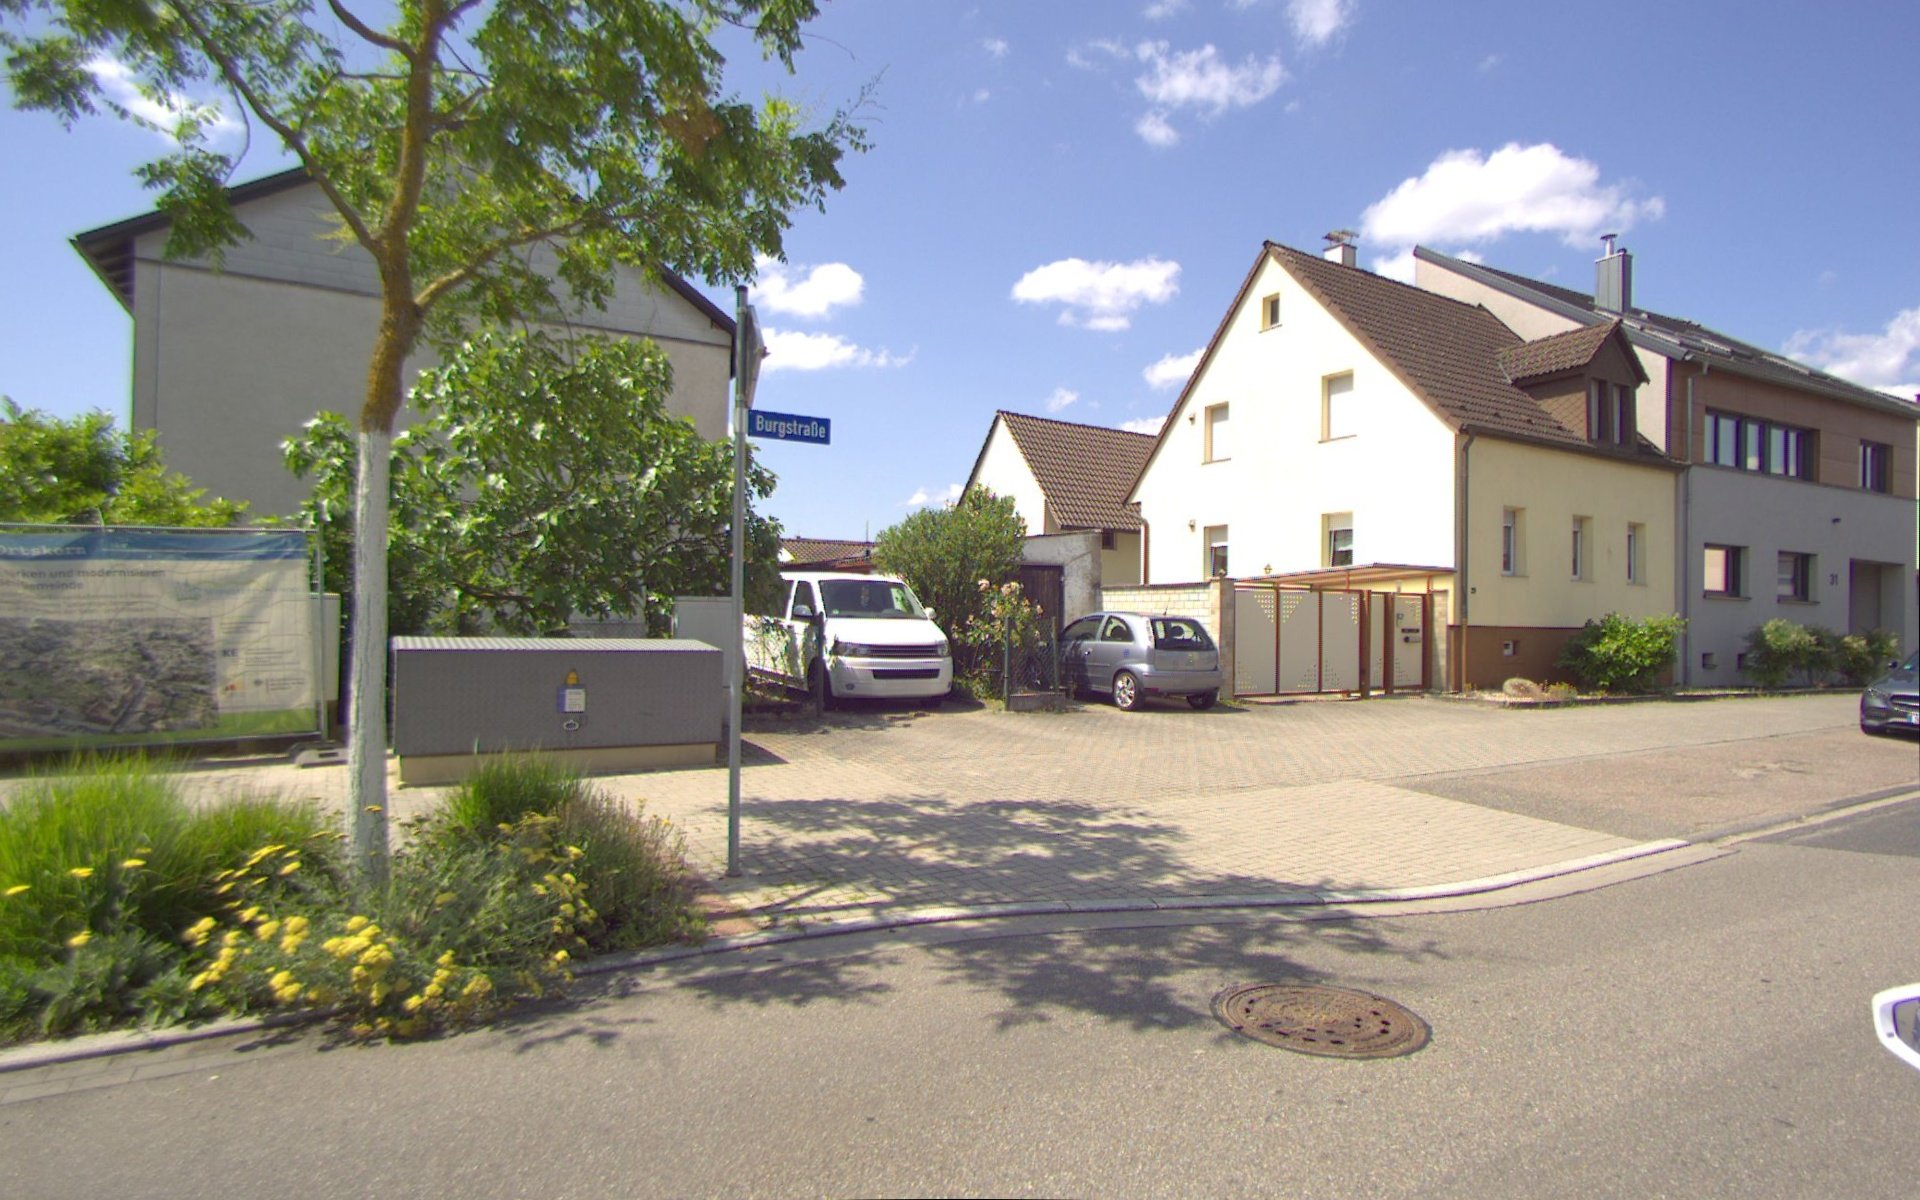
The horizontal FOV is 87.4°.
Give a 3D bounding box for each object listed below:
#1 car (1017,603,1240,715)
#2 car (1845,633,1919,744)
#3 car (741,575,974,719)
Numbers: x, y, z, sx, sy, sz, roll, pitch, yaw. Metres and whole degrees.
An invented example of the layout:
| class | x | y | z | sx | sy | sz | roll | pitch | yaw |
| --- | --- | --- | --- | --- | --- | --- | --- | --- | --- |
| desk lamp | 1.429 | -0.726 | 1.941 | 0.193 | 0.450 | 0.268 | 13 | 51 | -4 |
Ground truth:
| class | x | y | z | sx | sy | sz | roll | pitch | yaw |
| --- | --- | --- | --- | --- | --- | --- | --- | --- | --- |
| car | 2.561 | 0.845 | 16.051 | 1.769 | 1.490 | 3.511 | 1 | 1 | -27 |
| car | 15.438 | 1.343 | 15.402 | 4.097 | 1.453 | 1.804 | 0 | 4 | -35 |
| car | -1.664 | 0.568 | 14.916 | 1.977 | 1.824 | 3.968 | 1 | 1 | -30 |
